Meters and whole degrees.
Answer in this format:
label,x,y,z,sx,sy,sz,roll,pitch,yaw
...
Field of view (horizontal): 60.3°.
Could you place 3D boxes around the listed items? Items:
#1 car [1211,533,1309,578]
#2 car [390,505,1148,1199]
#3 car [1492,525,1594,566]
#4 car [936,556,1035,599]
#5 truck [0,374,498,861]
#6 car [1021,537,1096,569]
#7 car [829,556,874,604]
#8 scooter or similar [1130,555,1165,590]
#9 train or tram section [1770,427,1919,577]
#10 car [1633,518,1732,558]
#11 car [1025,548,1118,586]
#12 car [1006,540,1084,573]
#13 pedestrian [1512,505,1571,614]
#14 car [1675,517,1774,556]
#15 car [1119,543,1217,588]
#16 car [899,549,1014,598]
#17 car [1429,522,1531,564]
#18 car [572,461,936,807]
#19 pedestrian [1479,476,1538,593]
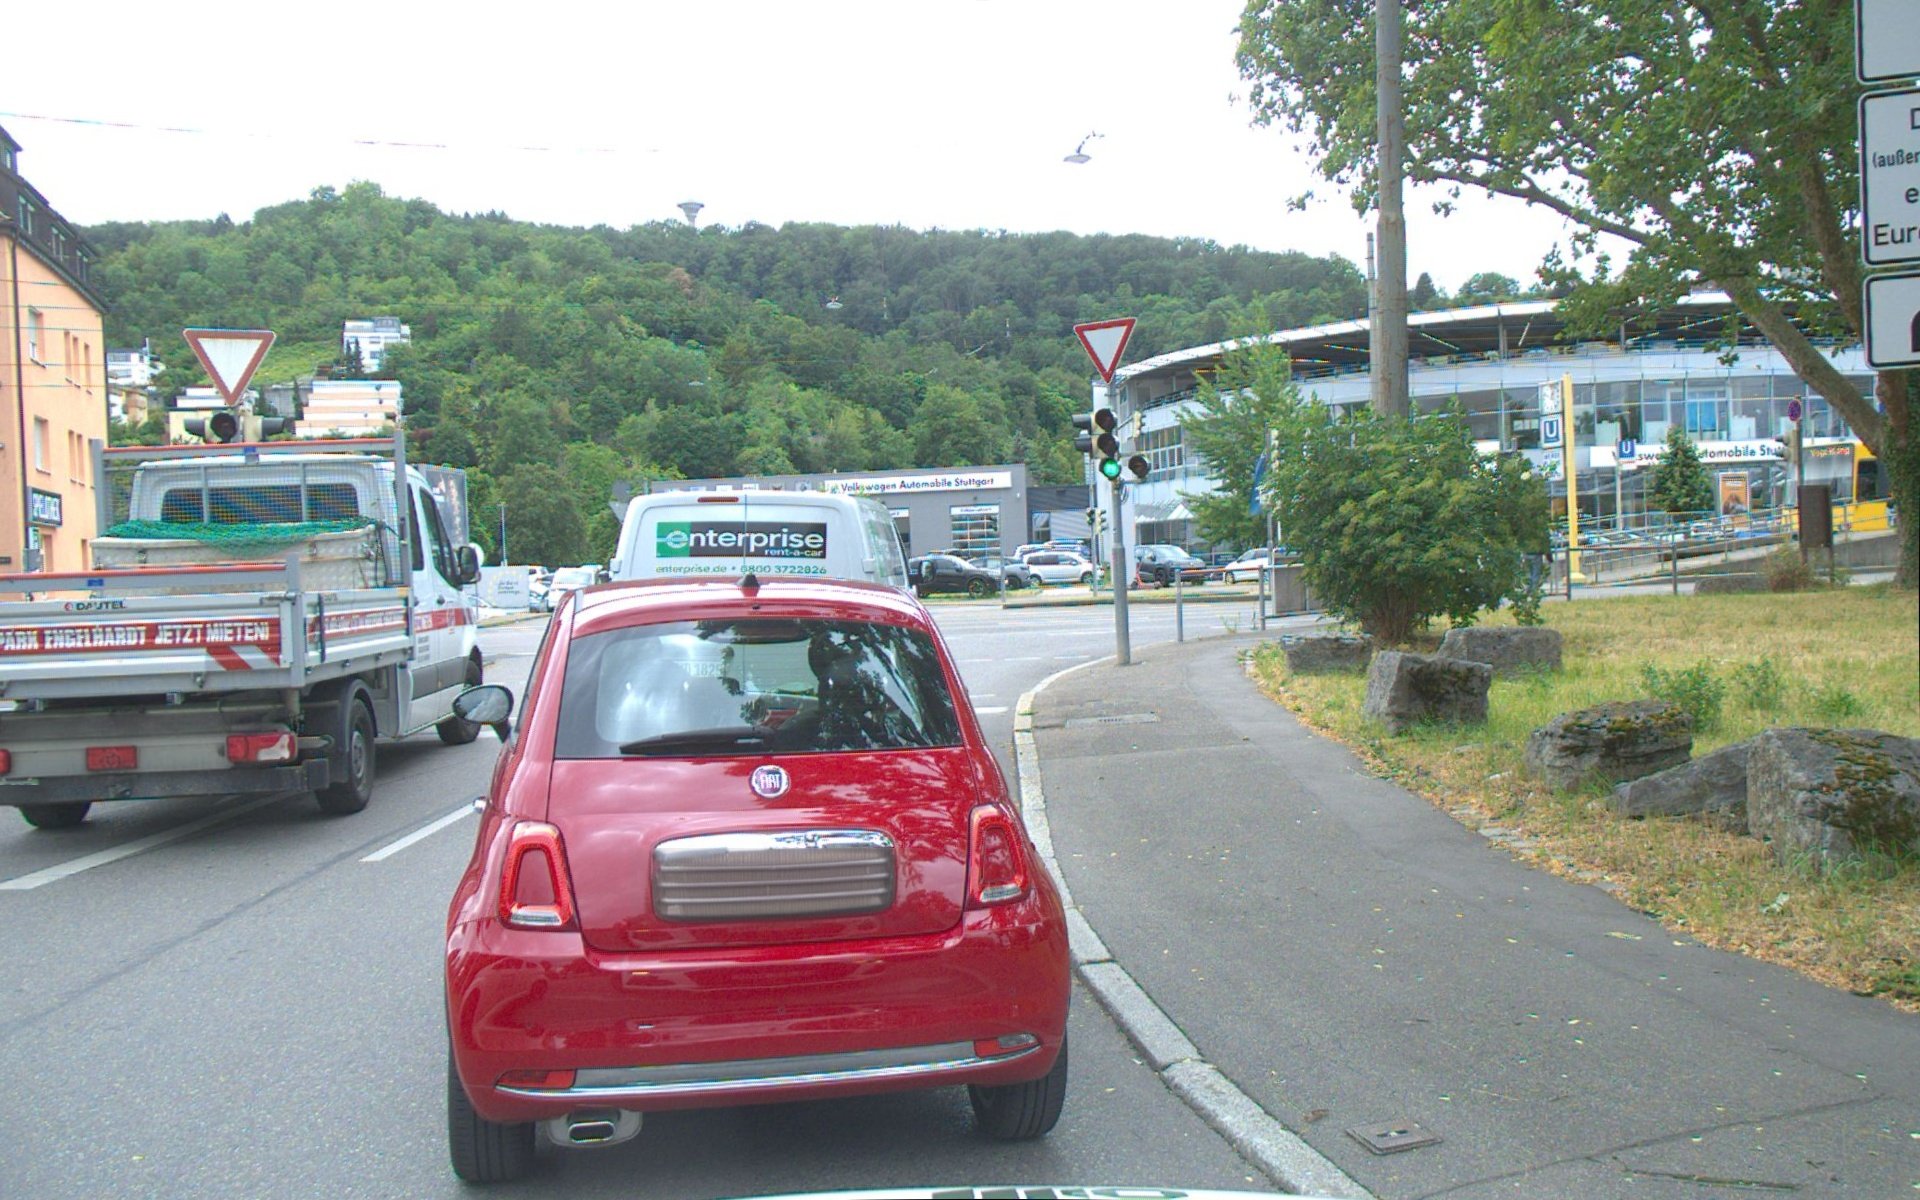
label,x,y,z,sx,sy,sz,roll,pitch,yaw
car,12.121,-1.781,67.039,1.970,1.668,3.966,1,0,-27
car,-0.753,0.544,5.675,1.667,1.551,3.990,1,1,-11
car,25.312,-2.365,71.963,1.899,1.581,3.966,-4,2,-26
car,1.067,-0.928,70.052,3.913,1.736,1.996,1,0,-9
truck,-4.904,0.010,11.349,2.269,2.463,5.648,-2,2,-6
car,5.950,-2.854,100.602,4.404,1.759,2.000,1,0,-1
car,-5.160,-0.941,79.111,1.954,2.049,5.014,-3,-1,-3
scooter or similar,7.074,-1.040,62.423,1.177,1.310,0.575,1,-1,-5
train or tram section,29.403,-3.036,48.912,11.715,4.035,2.730,-4,1,-23
car,32.469,-2.776,74.470,1.892,1.581,3.979,-3,1,-18
car,5.431,-1.602,81.174,4.404,1.759,2.000,1,0,-1
car,4.911,-2.519,96.262,4.404,1.759,2.000,1,0,-1
pedestrian,9.362,-0.638,26.640,0.660,1.719,0.600,1,-1,-22
car,34.871,-2.858,75.548,1.891,1.581,3.979,1,0,-18
car,8.145,-1.333,65.045,1.970,1.668,3.966,-2,1,-27
car,-0.106,-1.005,61.384,3.902,1.668,2.003,1,4,14
car,22.148,-2.412,70.572,1.899,1.581,3.966,-4,2,-26
car,-1.298,0.103,12.486,1.957,2.075,4.834,1,2,2
pedestrian,9.046,-1.081,27.283,0.660,1.900,0.600,-2,0,-22
